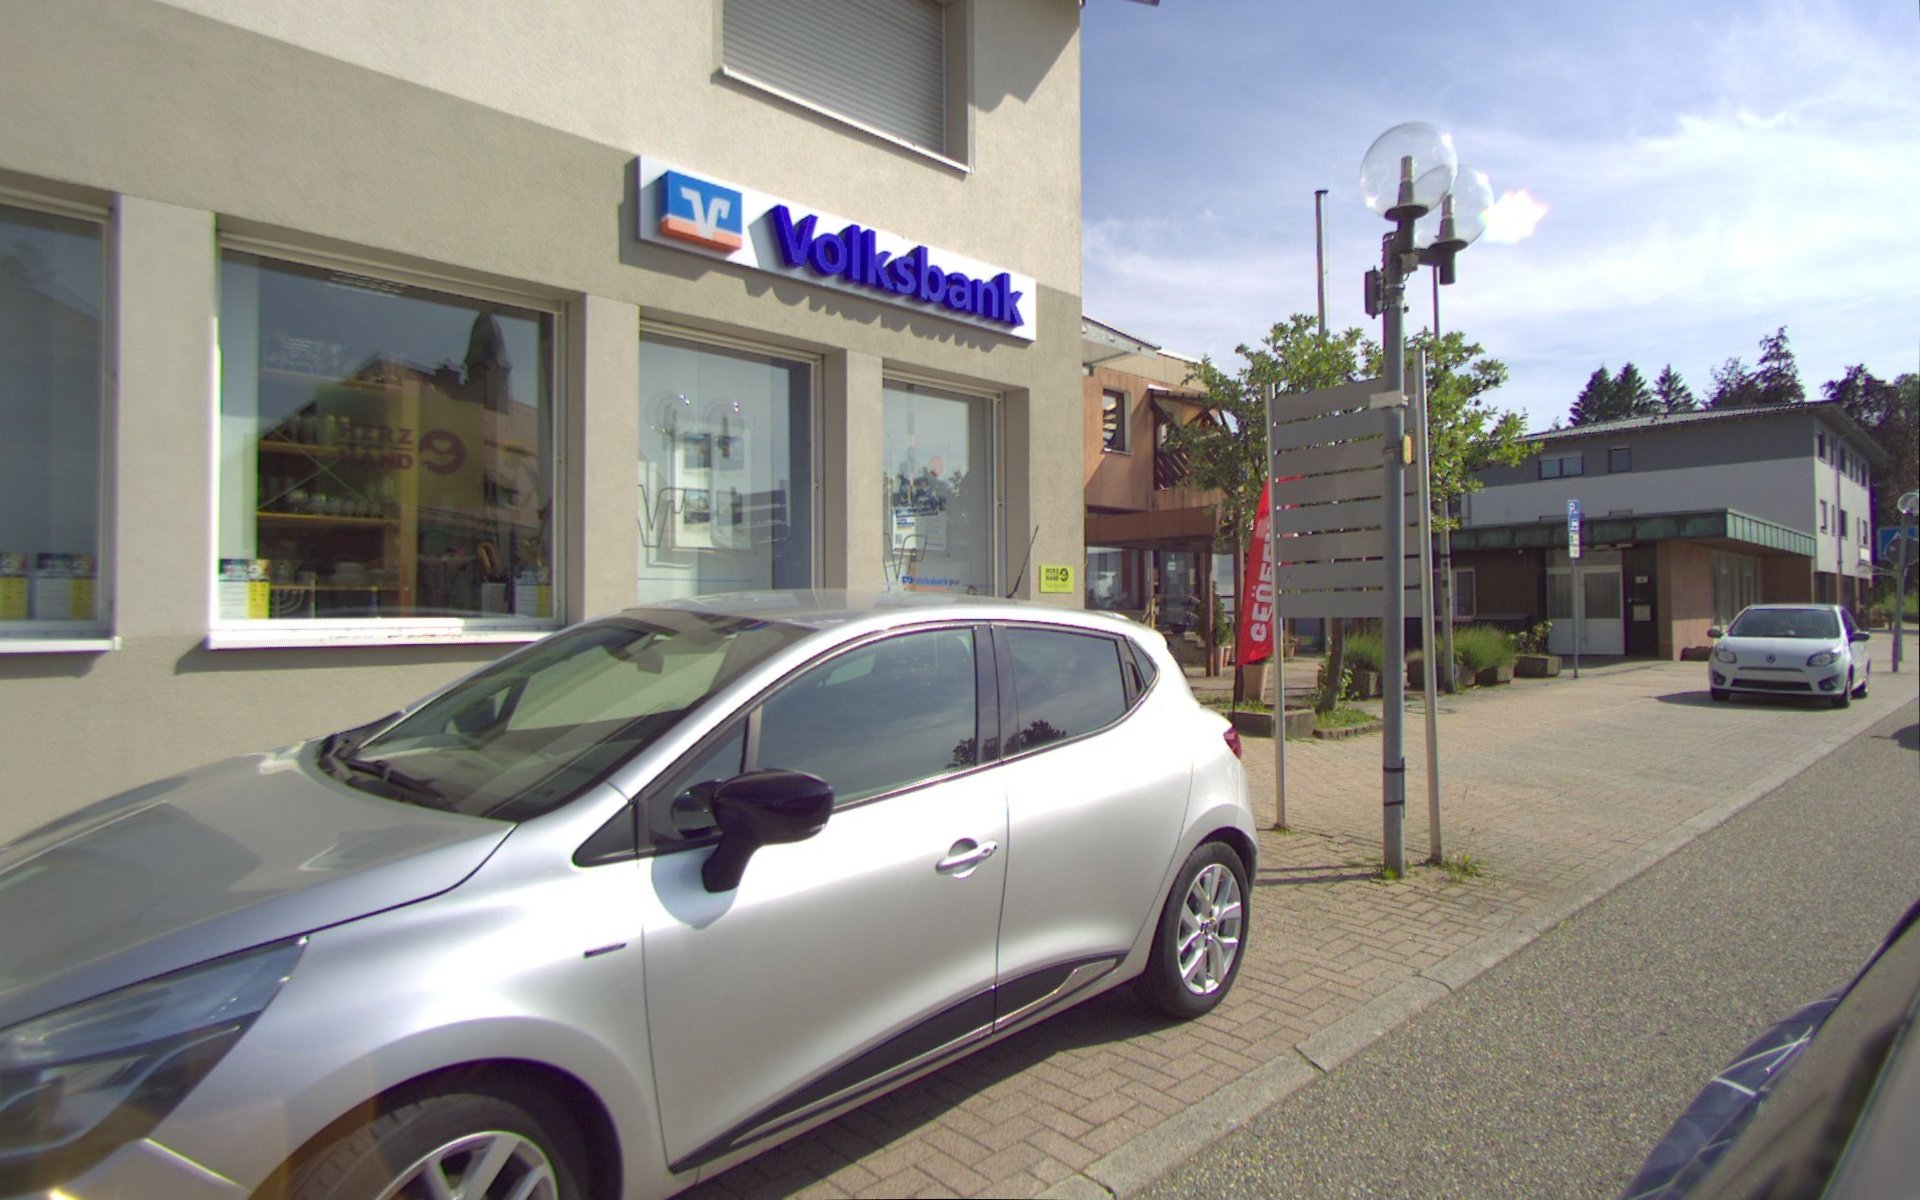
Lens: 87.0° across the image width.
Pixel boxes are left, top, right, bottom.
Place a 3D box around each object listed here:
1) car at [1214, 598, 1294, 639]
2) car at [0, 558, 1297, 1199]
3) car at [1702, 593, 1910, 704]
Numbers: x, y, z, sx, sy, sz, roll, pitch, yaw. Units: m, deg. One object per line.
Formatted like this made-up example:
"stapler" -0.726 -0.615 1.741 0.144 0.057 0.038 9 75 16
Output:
"car" 11.687 0.701 40.142 3.256 1.502 1.490 0 2 -40
"car" -0.655 0.640 3.059 1.636 1.437 3.872 2 2 44
"car" 12.924 0.650 15.406 3.568 1.441 1.764 0 1 -39
